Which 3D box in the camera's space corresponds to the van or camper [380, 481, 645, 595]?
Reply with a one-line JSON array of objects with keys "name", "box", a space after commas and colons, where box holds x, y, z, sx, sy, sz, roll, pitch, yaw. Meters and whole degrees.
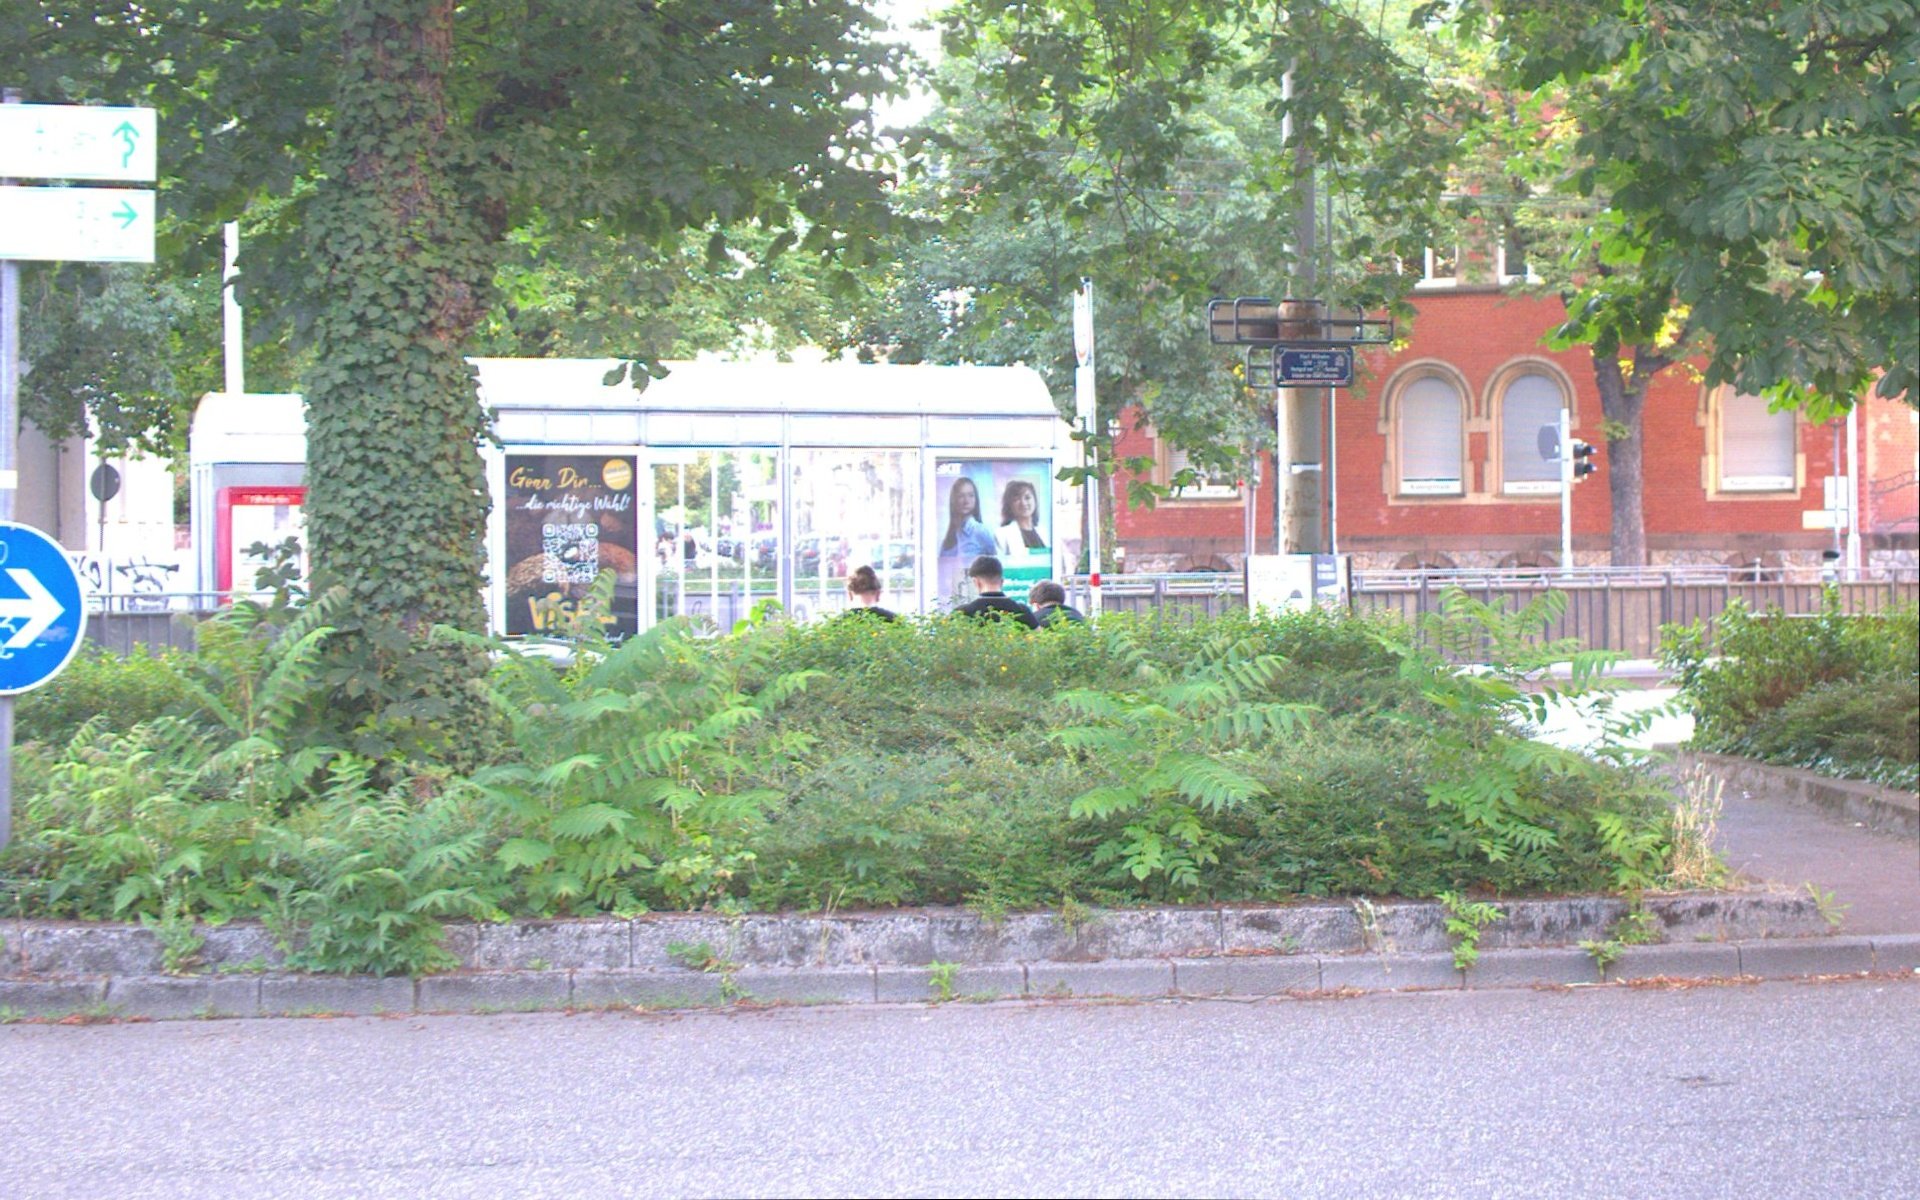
[{"name": "van or camper", "box": [-12.788, -1.778, 98.270, 7.363, 3.072, 2.674, 1, 1, -9]}]

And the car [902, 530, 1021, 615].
[{"name": "car", "box": [-0.006, -0.611, 72.445, 1.993, 1.698, 4.721, 1, 1, -6]}]

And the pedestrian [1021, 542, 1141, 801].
[{"name": "pedestrian", "box": [0.678, 0.394, 19.412, 0.616, 1.426, 0.655, 0, 1, -3]}]

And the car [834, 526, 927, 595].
[{"name": "car", "box": [-2.074, -1.039, 88.664, 1.993, 1.698, 4.721, 1, 1, -6]}]

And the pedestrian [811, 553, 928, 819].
[{"name": "pedestrian", "box": [-0.504, 0.460, 18.873, 0.616, 1.426, 0.655, 0, 1, -3]}]

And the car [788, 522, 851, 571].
[{"name": "car", "box": [-5.092, -1.944, 124.125, 1.993, 1.698, 4.721, 1, 1, -6]}]

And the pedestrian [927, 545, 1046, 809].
[{"name": "pedestrian", "box": [0.142, 0.415, 19.010, 0.616, 1.426, 0.655, 0, 1, -3]}]

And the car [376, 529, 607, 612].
[{"name": "car", "box": [-10.321, -0.654, 75.662, 4.949, 1.698, 2.001, 1, 1, -9]}]
